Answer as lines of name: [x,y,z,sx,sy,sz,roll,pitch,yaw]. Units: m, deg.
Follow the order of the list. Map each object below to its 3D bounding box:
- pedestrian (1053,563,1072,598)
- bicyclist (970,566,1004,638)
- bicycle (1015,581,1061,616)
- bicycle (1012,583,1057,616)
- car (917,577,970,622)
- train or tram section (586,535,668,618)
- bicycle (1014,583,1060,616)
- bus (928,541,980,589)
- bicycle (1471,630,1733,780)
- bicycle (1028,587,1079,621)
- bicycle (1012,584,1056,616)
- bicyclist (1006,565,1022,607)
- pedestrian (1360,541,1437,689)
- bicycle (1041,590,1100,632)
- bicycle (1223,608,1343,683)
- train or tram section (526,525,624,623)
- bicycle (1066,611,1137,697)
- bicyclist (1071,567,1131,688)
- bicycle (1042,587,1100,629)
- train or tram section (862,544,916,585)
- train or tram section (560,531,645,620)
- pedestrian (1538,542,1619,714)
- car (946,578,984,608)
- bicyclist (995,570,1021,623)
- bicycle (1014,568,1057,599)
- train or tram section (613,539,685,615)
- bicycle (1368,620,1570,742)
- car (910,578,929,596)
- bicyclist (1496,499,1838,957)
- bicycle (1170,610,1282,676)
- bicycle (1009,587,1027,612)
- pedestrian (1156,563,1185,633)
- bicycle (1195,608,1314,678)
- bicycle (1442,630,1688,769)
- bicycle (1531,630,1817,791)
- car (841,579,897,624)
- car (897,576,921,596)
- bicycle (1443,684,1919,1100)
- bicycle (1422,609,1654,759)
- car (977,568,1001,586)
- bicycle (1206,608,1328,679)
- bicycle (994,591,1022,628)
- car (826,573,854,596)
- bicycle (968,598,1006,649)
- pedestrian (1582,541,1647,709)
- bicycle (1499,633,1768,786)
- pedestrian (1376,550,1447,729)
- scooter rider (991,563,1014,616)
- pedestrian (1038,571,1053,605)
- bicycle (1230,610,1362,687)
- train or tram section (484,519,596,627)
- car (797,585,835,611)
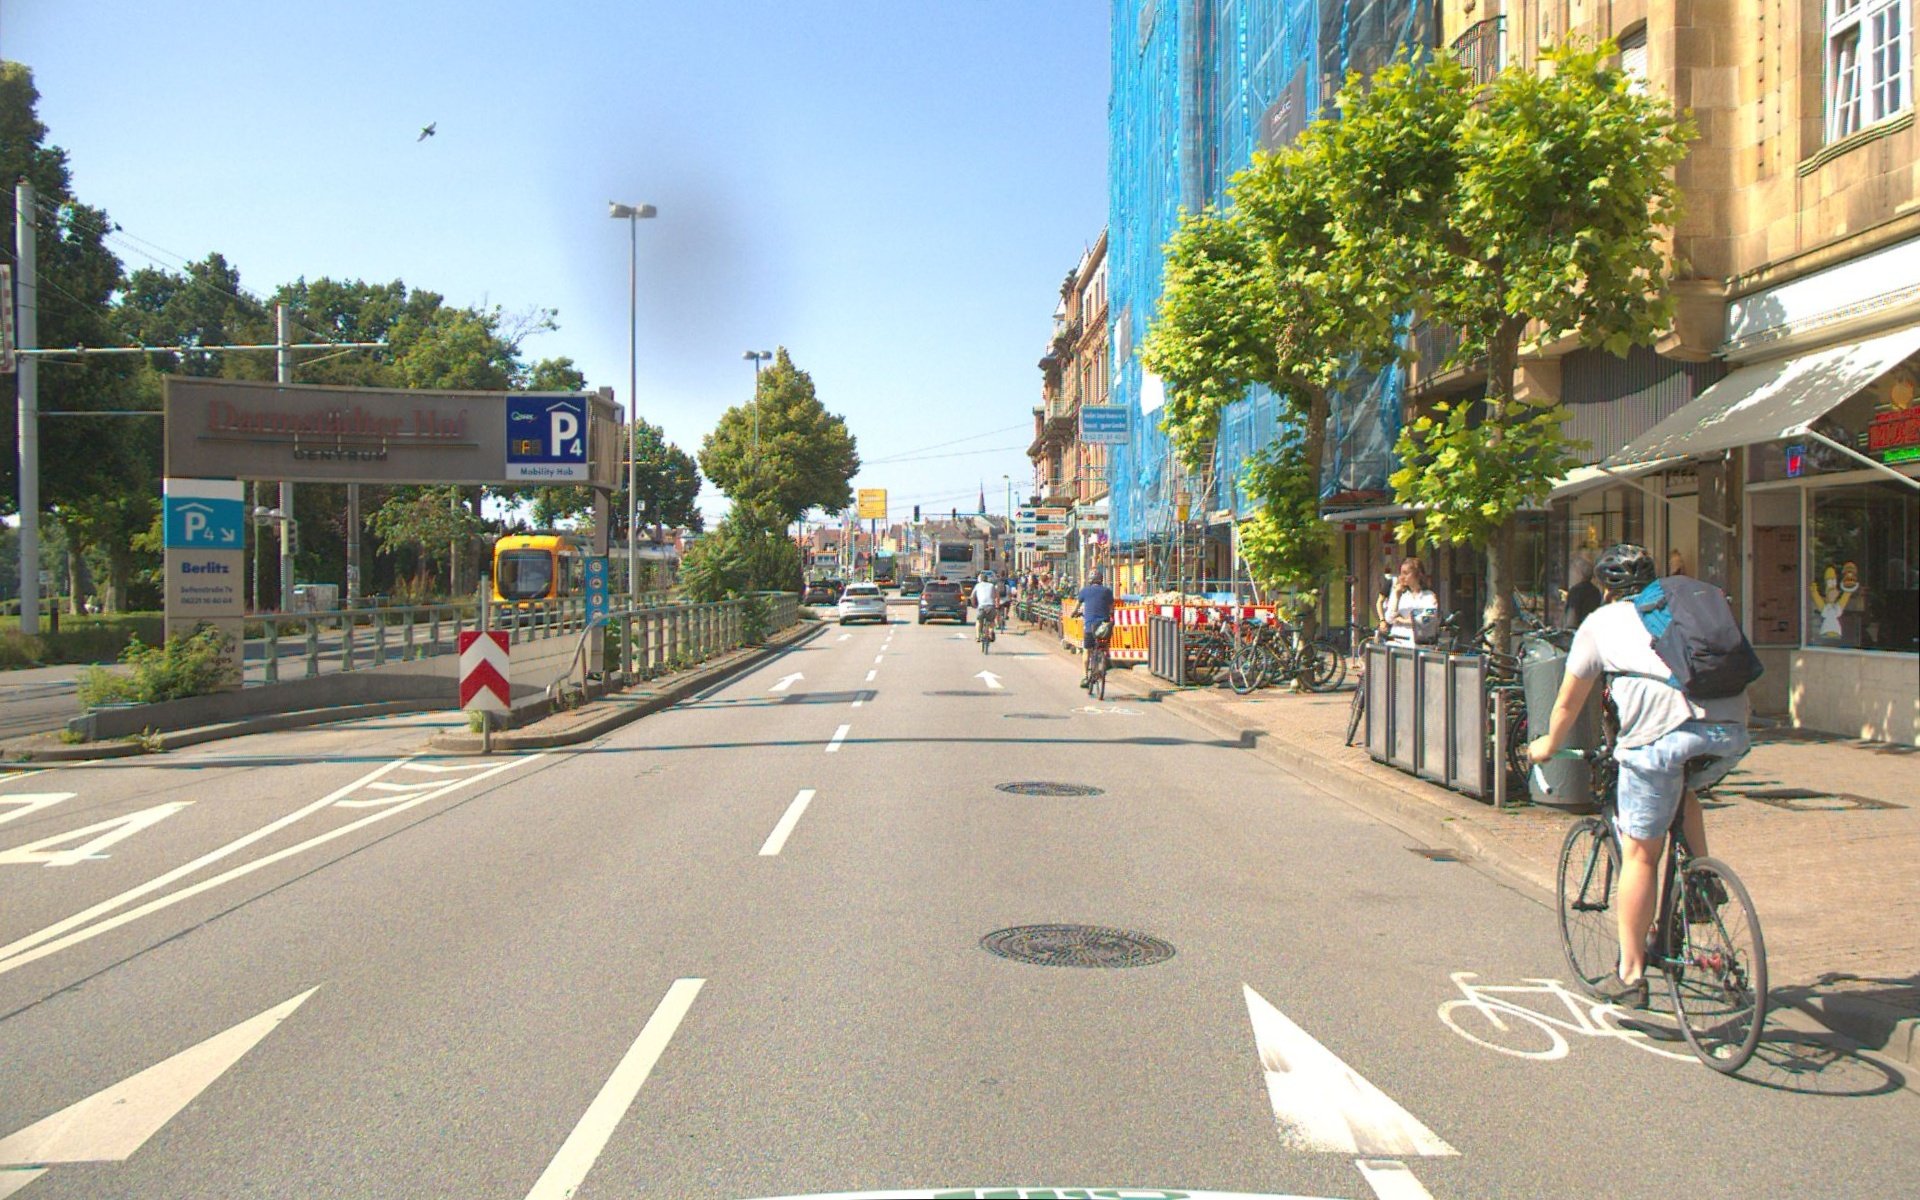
pedestrian: [5.066,-0.954,81.664,0.740,1.684,0.837,-3,0,-2]
bicyclist: [0.610,0.045,37.778,0.674,1.604,1.049,2,0,-3]
bicycle: [2.896,-0.043,61.195,1.659,1.262,0.608,1,0,-1]
bicycle: [2.844,-0.023,62.982,1.659,1.199,0.451,1,0,-1]
car: [-0.589,-0.025,60.018,1.835,1.518,4.000,2,0,0]
train or tram section: [-15.620,-1.095,78.006,2.561,3.643,6.896,2,0,-2]
bicycle: [2.869,-0.015,61.814,1.659,1.199,0.497,1,0,-1]
bus: [-0.456,-2.184,105.671,2.909,2.825,8.637,2,0,-2]
bicycle: [4.726,0.759,12.219,1.718,1.036,0.586,-1,0,-4]
bicycle: [3.138,0.127,55.456,1.659,1.106,0.608,1,0,-1]
bicycle: [2.851,0.003,63.508,1.659,1.199,0.463,1,0,-1]
bicyclist: [2.577,-0.660,78.649,0.674,1.996,0.778,2,0,-3]
pedestrian: [5.756,0.194,21.759,0.797,1.881,0.892,-2,0,6]
bicycle: [3.216,0.310,48.271,1.659,1.199,0.608,1,0,-1]
bicycle: [4.645,0.640,23.780,1.728,1.036,0.480,0,0,-22]
train or tram section: [-15.312,-1.006,66.147,2.561,3.643,6.102,2,0,-2]
bicycle: [1.958,0.730,23.169,0.719,1.112,1.910,2,0,-3]
bicyclist: [1.971,0.371,23.200,0.674,1.644,0.918,2,0,-3]
bicycle: [3.277,0.227,49.022,1.659,1.199,0.608,1,0,-1]
train or tram section: [-6.738,-3.336,159.270,2.762,3.643,10.041,2,0,11]
train or tram section: [-15.455,-1.049,71.883,2.561,3.643,5.355,2,0,-2]
pedestrian: [6.311,0.284,16.885,0.528,1.712,0.496,-2,0,-22]
car: [0.276,-0.374,88.771,1.953,1.518,4.000,2,0,0]
bicyclist: [1.478,-0.102,51.308,0.674,1.604,1.049,2,0,-3]
bicycle: [2.989,-0.650,65.389,1.659,1.199,0.608,-1,1,-1]
train or tram section: [-15.805,-1.144,84.435,2.561,3.643,6.015,2,0,-2]
bicycle: [4.631,0.714,15.050,1.716,1.036,0.657,0,0,21]
car: [-3.113,-0.983,127.759,1.422,1.323,3.341,2,0,0]
bicyclist: [2.510,0.419,6.005,0.674,1.488,1.142,2,0,-3]
bicycle: [4.286,0.691,26.646,1.718,1.036,0.482,0,0,-4]
bicycle: [2.741,-0.031,78.658,0.719,1.112,1.897,2,0,-2]
pedestrian: [5.546,-0.054,43.669,0.626,1.807,0.649,2,0,-2]
bicycle: [4.477,0.651,25.180,1.718,1.036,0.482,0,0,-4]
bicycle: [4.679,0.761,12.835,1.718,1.036,0.557,0,0,-4]
bicycle: [4.753,0.726,11.048,1.718,1.036,0.482,0,0,-4]
car: [-3.320,0.051,60.831,1.821,1.533,4.000,2,0,0]
car: [-3.638,-0.986,117.879,1.421,1.323,3.343,2,0,3]
bicycle: [2.490,0.934,6.032,0.719,1.112,2.129,2,0,-3]
bicycle: [4.756,0.677,13.656,1.718,1.202,0.579,0,0,-4]
car: [3.127,-2.495,177.937,1.951,1.910,4.004,-1,1,10]
bicycle: [4.555,0.636,24.584,1.718,1.036,0.482,0,0,-4]
bicycle: [1.471,0.287,51.273,0.719,1.112,1.897,2,0,-2]
car: [-7.406,-0.970,102.285,1.422,1.323,4.000,2,0,0]
bicycle: [0.600,0.524,37.786,0.719,1.112,1.897,2,0,-3]
pedestrian: [6.766,0.250,17.105,0.468,1.712,0.379,-1,0,-21]
bicycle: [4.721,0.757,11.634,1.718,1.036,0.482,0,0,-4]
pedestrian: [4.425,0.378,16.196,0.642,1.712,0.654,0,-1,16]
scooter rider: [1.434,-0.352,55.833,0.674,1.759,0.778,2,0,-3]
pedestrian: [4.239,-0.609,82.394,0.641,1.649,0.815,-1,1,-3]
bicycle: [4.607,0.666,22.701,1.718,1.036,0.482,0,0,-4]
train or tram section: [-15.162,-0.960,60.080,2.561,3.643,6.102,2,0,-2]
car: [-8.034,-0.138,92.577,1.778,1.355,4.000,2,0,0]
